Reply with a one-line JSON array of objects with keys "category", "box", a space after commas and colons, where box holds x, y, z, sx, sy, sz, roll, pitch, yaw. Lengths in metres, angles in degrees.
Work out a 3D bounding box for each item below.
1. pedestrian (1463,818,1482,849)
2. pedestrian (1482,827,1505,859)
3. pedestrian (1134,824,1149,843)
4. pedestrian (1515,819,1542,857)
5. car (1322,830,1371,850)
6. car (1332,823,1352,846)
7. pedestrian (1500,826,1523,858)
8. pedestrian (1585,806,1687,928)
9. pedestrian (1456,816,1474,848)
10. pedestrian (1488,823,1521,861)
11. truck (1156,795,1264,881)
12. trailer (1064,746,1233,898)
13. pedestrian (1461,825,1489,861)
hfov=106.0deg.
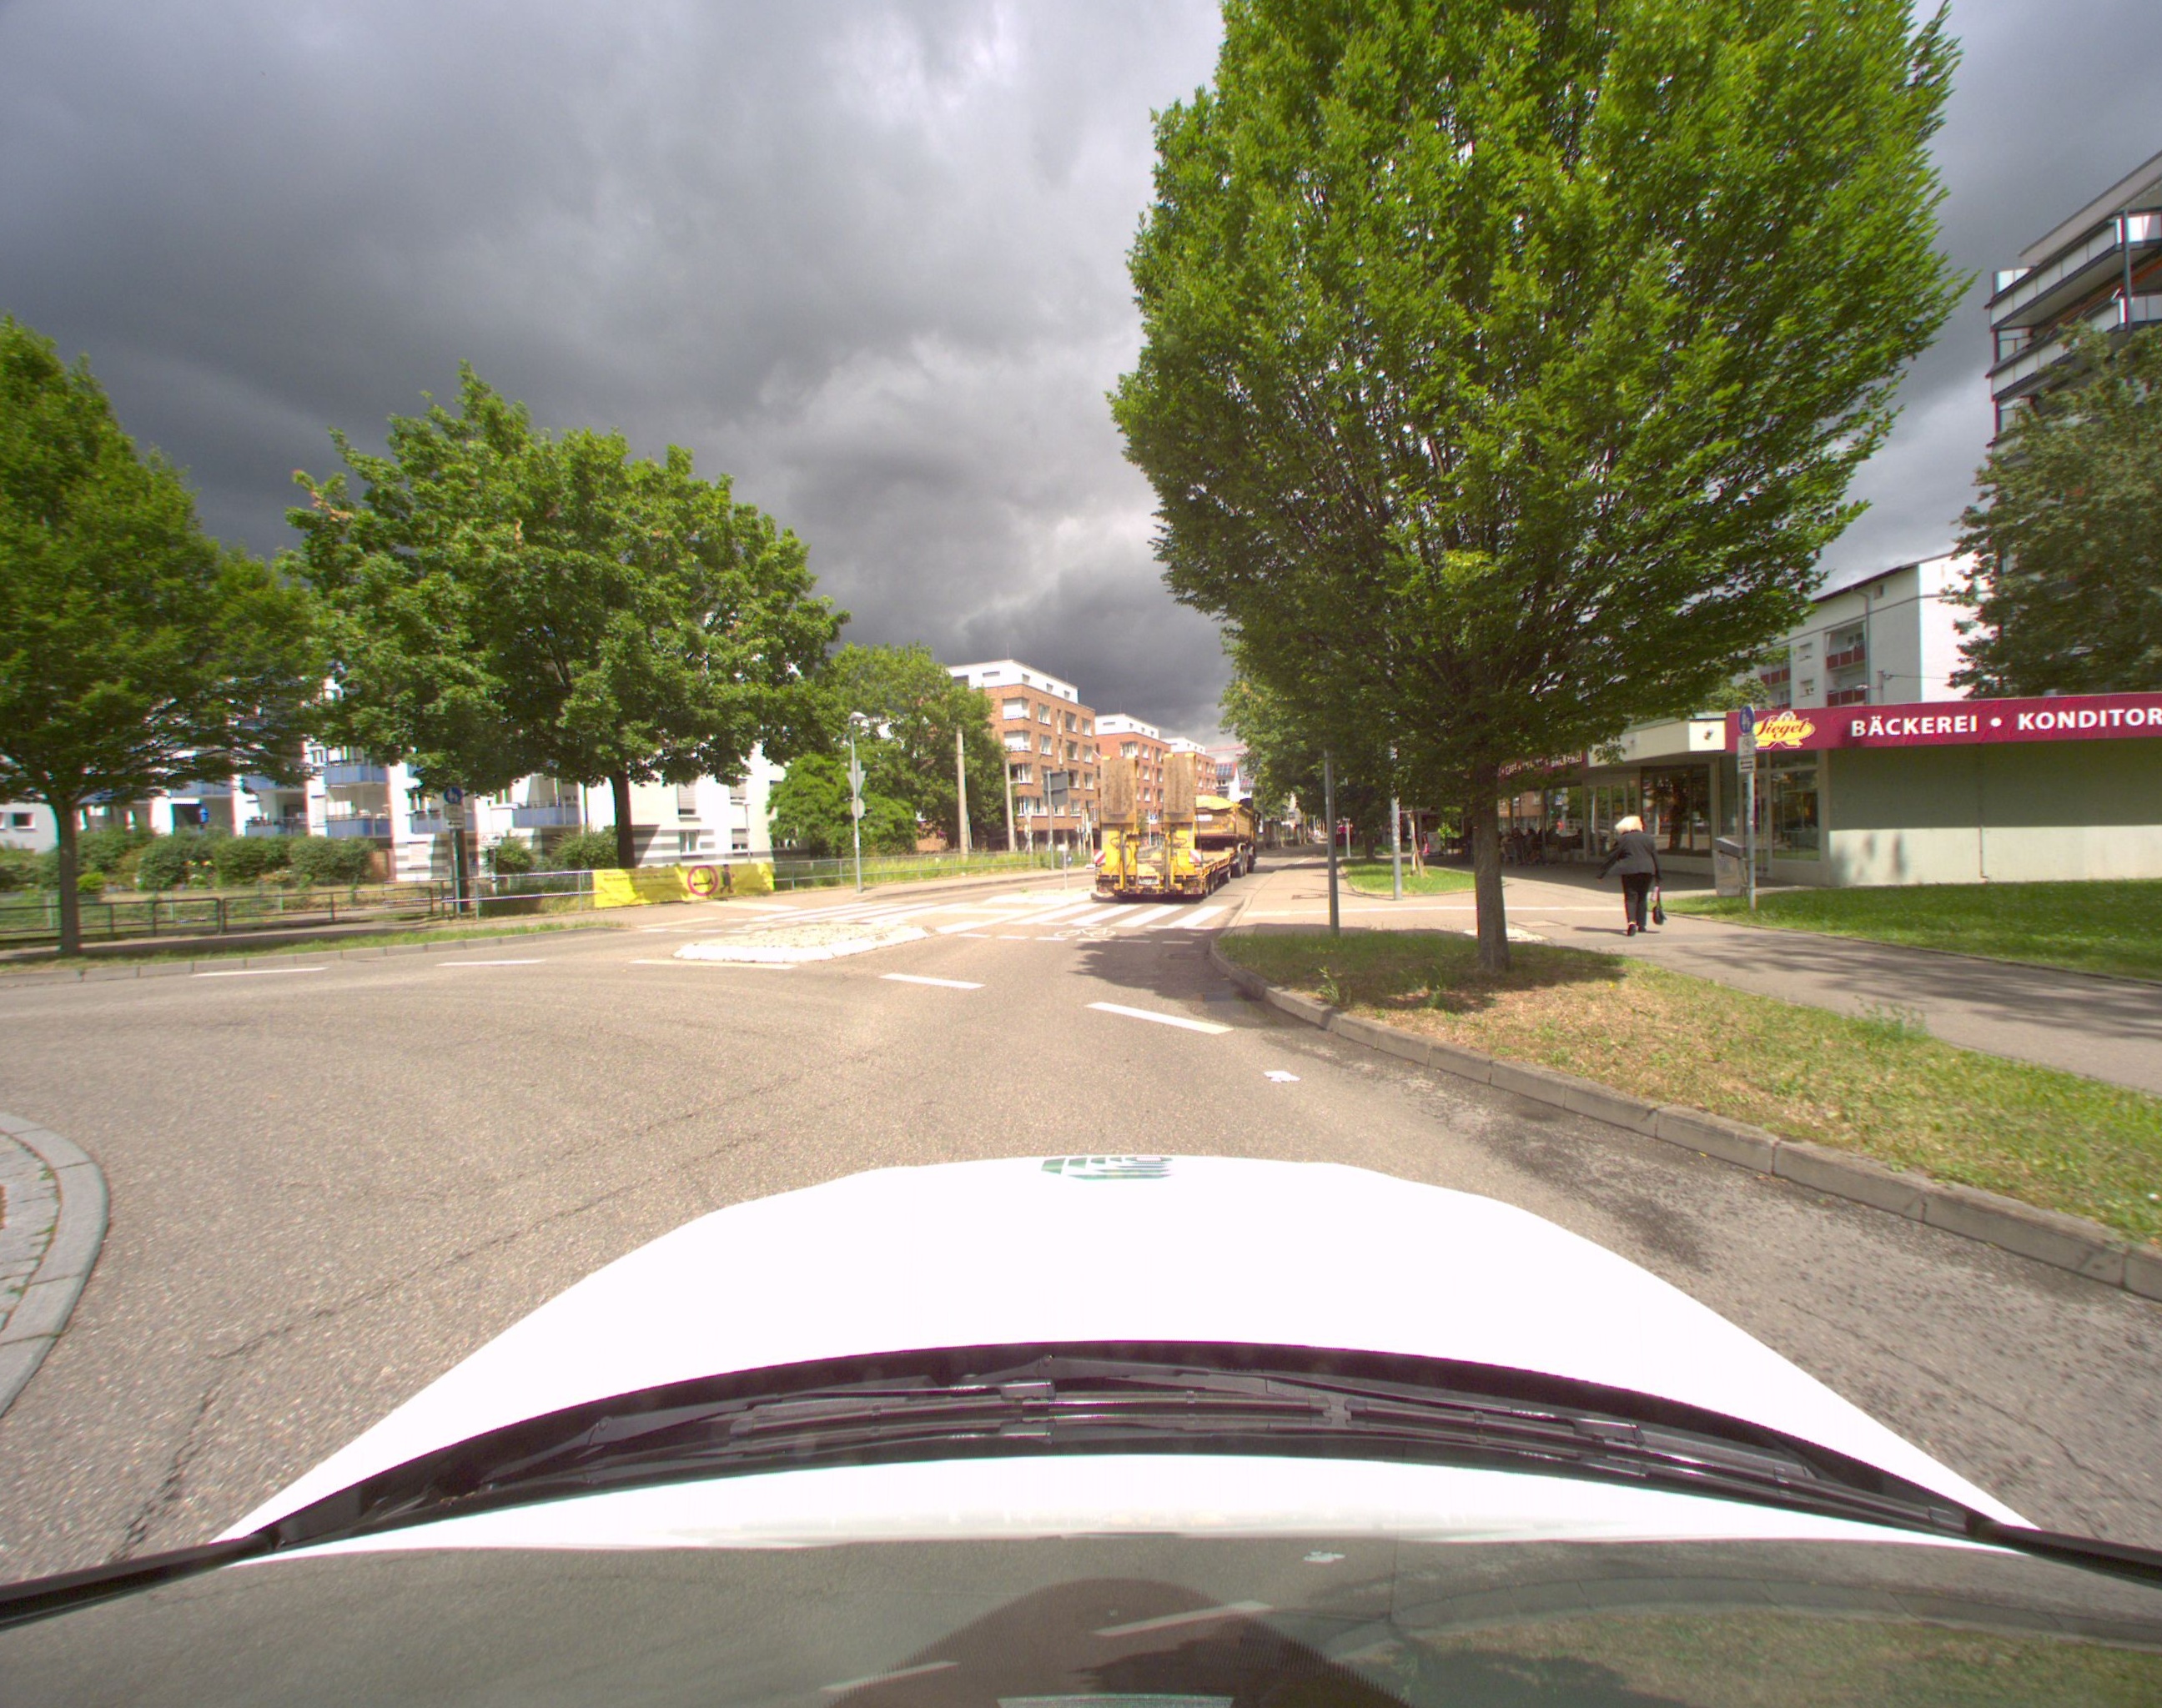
[{"category": "pedestrian", "box": [19.350, -1.035, 40.274, 0.692, 1.488, 0.559, -3, 0, 13]}, {"category": "pedestrian", "box": [16.194, -0.438, 31.955, 0.711, 1.201, 0.703, -3, 0, 23]}, {"category": "pedestrian", "box": [6.439, -2.191, 86.657, 1.126, 2.013, 1.004, -3, 0, 25]}, {"category": "pedestrian", "box": [16.626, -0.594, 30.285, 0.712, 1.380, 0.702, -3, 0, 16]}, {"category": "car", "box": [23.498, -1.238, 71.930, 3.952, 1.511, 2.011, -1, 4, 21]}, {"category": "car", "box": [34.590, -2.602, 107.871, 1.976, 2.827, 5.143, 2, 3, 22]}, {"category": "pedestrian", "box": [16.714, -0.451, 31.633, 0.711, 1.201, 0.703, -3, 0, 23]}, {"category": "pedestrian", "box": [7.245, 0.173, 10.680, 0.865, 1.519, 0.807, -2, 0, 16]}, {"category": "pedestrian", "box": [19.264, -1.091, 40.863, 0.692, 1.573, 0.559, -3, 0, 13]}, {"category": "pedestrian", "box": [15.783, -0.455, 30.371, 0.872, 1.324, 0.825, -3, 3, 9]}, {"category": "truck", "box": [5.559, -0.792, 33.537, 2.964, 3.034, 8.528, -1, 3, 18]}, {"category": "trailer", "box": [2.505, -0.820, 24.059, 2.842, 3.372, 10.886, -3, 0, 15]}, {"category": "pedestrian", "box": [15.196, -0.422, 31.417, 0.870, 1.324, 0.614, -3, 0, 18]}]
